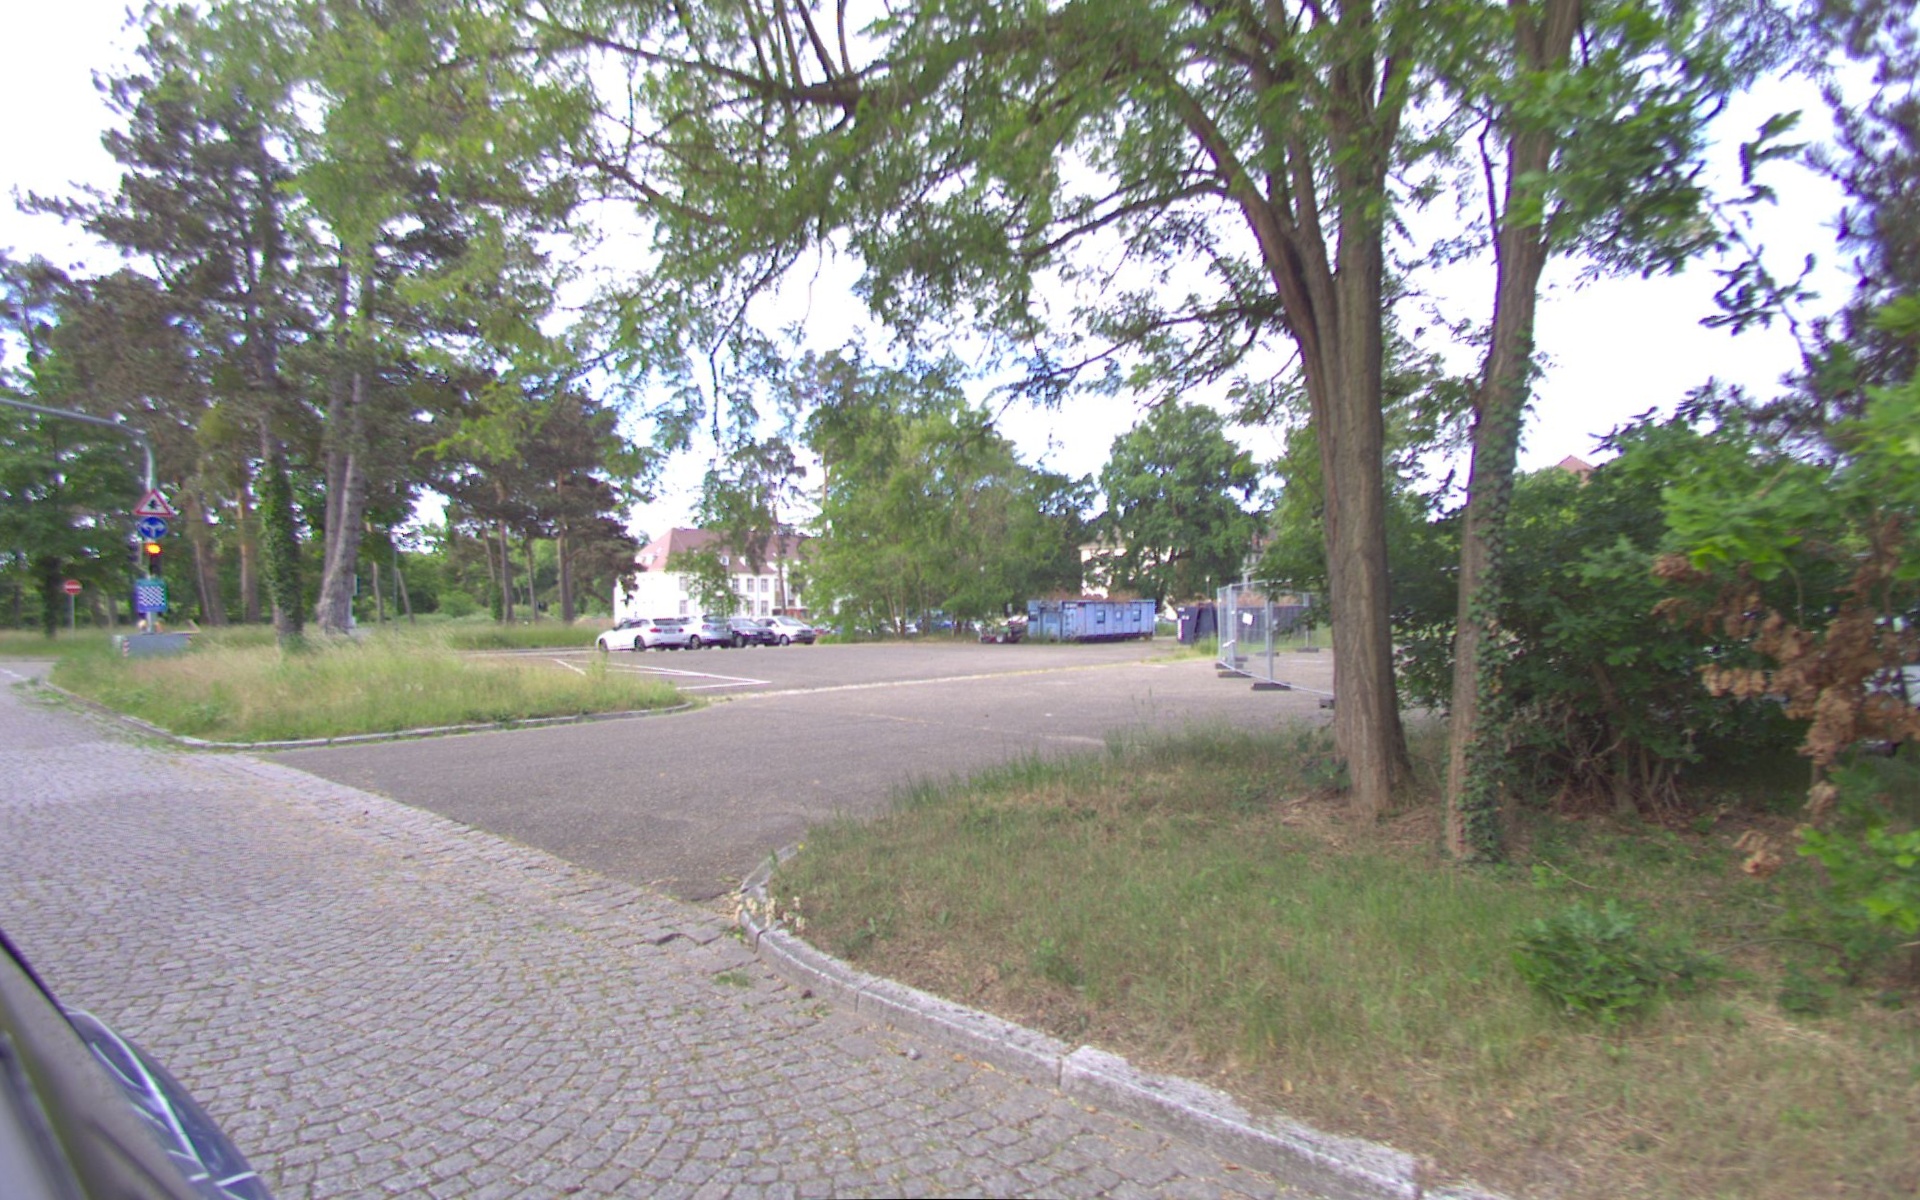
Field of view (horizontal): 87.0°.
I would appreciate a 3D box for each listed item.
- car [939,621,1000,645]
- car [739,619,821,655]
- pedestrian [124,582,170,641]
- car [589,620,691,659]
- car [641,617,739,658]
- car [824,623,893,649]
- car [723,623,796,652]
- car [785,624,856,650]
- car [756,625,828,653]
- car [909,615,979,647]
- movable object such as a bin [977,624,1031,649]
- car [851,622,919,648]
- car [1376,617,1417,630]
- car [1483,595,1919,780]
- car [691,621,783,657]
[{"bbox_3d":[0.683,2.423,74.012,4.284,1.533,1.726,-4,-3,40],"label":"car"},{"bbox_3d":[-8.638,1.784,48.441,4.113,1.533,1.713,-4,-3,43],"label":"car"},{"bbox_3d":[-21.689,0.308,27.011,0.869,1.529,0.824,0,-2,-34],"label":"pedestrian"},{"bbox_3d":[-13.340,1.648,42.039,4.651,1.461,1.816,-4,-3,40],"label":"car"},{"bbox_3d":[-11.827,1.652,44.141,4.580,1.590,1.816,-4,-3,40],"label":"car"},{"bbox_3d":[-6.648,2.358,65.975,4.580,1.571,1.816,-4,-3,40],"label":"car"},{"bbox_3d":[-12.030,2.268,60.602,4.580,1.571,1.816,-4,-3,40],"label":"car"},{"bbox_3d":[-8.895,2.361,64.357,4.580,1.533,1.816,-4,-3,40],"label":"car"},{"bbox_3d":[-10.384,2.388,62.213,4.580,1.533,1.816,-4,-3,40],"label":"car"},{"bbox_3d":[-1.182,2.214,72.165,4.979,2.113,1.816,-4,-3,41],"label":"car"},{"bbox_3d":[1.743,1.457,40.404,1.931,0.940,1.029,-2,-2,36],"label":"movable object such as a bin"},{"bbox_3d":[-5.116,2.401,68.606,4.580,1.586,1.816,-4,-3,40],"label":"car"},{"bbox_3d":[56.124,3.060,130.149,4.581,1.645,1.816,-2,-2,40],"label":"car"},{"bbox_3d":[7.410,0.713,9.178,4.463,1.449,1.698,-2,-2,40],"label":"car"},{"bbox_3d":[-10.243,1.787,46.233,4.584,1.480,1.815,-4,-3,43],"label":"car"}]
